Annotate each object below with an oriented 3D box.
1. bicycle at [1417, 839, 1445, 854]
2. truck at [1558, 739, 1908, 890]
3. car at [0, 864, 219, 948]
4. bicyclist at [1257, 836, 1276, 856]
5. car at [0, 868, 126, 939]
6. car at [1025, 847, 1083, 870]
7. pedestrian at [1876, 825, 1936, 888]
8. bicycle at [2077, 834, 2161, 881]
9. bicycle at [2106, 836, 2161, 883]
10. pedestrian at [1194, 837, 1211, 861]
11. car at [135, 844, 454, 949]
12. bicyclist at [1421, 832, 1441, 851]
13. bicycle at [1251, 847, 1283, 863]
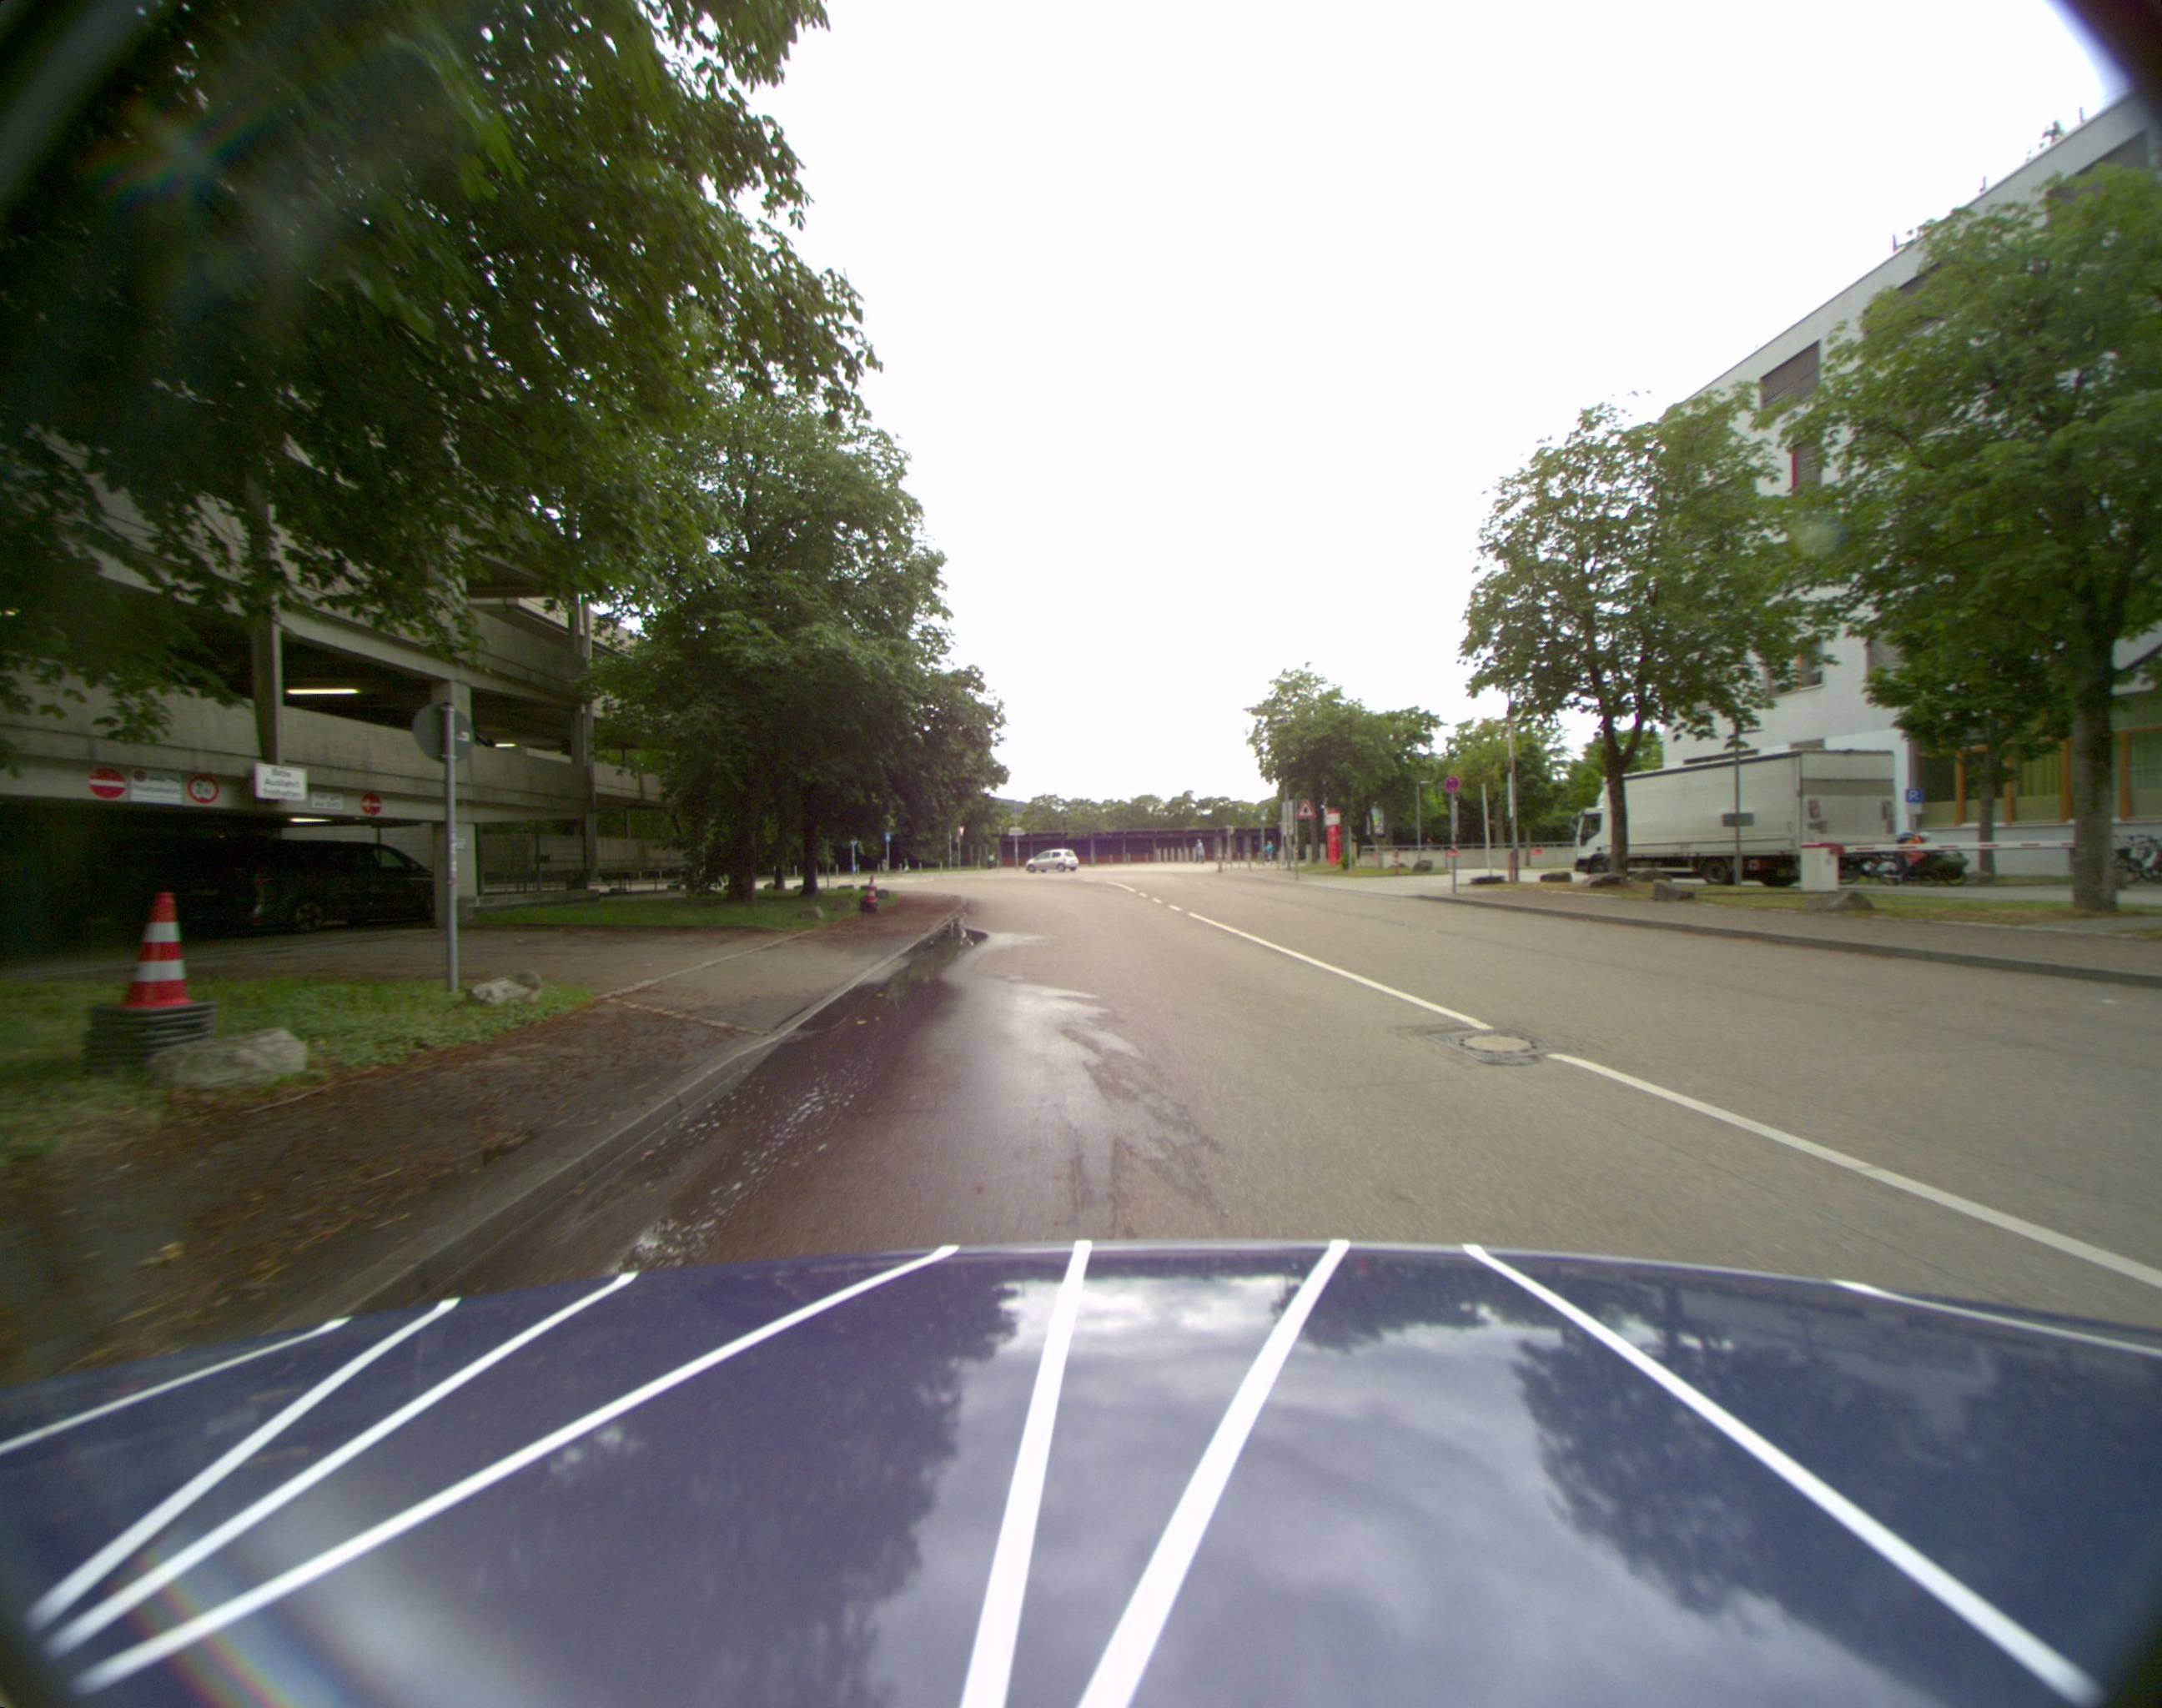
[{"bbox_3d":[28.969,-0.643,62.846,2.052,1.137,0.776,-3,3,-13],"label":"bicycle"},{"bbox_3d":[18.580,-1.063,22.700,2.685,3.580,8.358,-2,2,-6],"label":"truck"},{"bbox_3d":[-21.566,1.060,16.118,1.876,1.445,3.999,-2,2,0],"label":"car"},{"bbox_3d":[14.037,-0.608,57.576,1.159,1.422,0.742,-2,2,-7],"label":"bicyclist"},{"bbox_3d":[-24.294,1.157,16.522,1.876,1.445,3.999,-2,2,0],"label":"car"},{"bbox_3d":[-1.818,0.305,51.189,3.494,1.448,1.609,-1,2,25],"label":"car"},{"bbox_3d":[21.835,0.050,20.122,0.680,1.597,0.886,-3,2,-23],"label":"pedestrian"},{"bbox_3d":[26.010,0.088,18.767,2.030,1.064,0.613,-2,2,0],"label":"bicycle"},{"bbox_3d":[25.872,0.111,18.109,2.030,1.064,0.613,-2,2,0],"label":"bicycle"},{"bbox_3d":[9.376,-0.409,58.765,1.200,1.824,0.928,-2,3,6],"label":"pedestrian"},{"bbox_3d":[-16.183,0.757,16.126,1.924,1.824,4.734,-2,1,-3],"label":"car"},{"bbox_3d":[28.948,-1.063,62.829,1.102,1.487,0.926,-3,3,-13],"label":"bicyclist"},{"bbox_3d":[14.104,0.097,57.611,2.257,1.117,0.747,-2,2,-7],"label":"bicycle"}]
